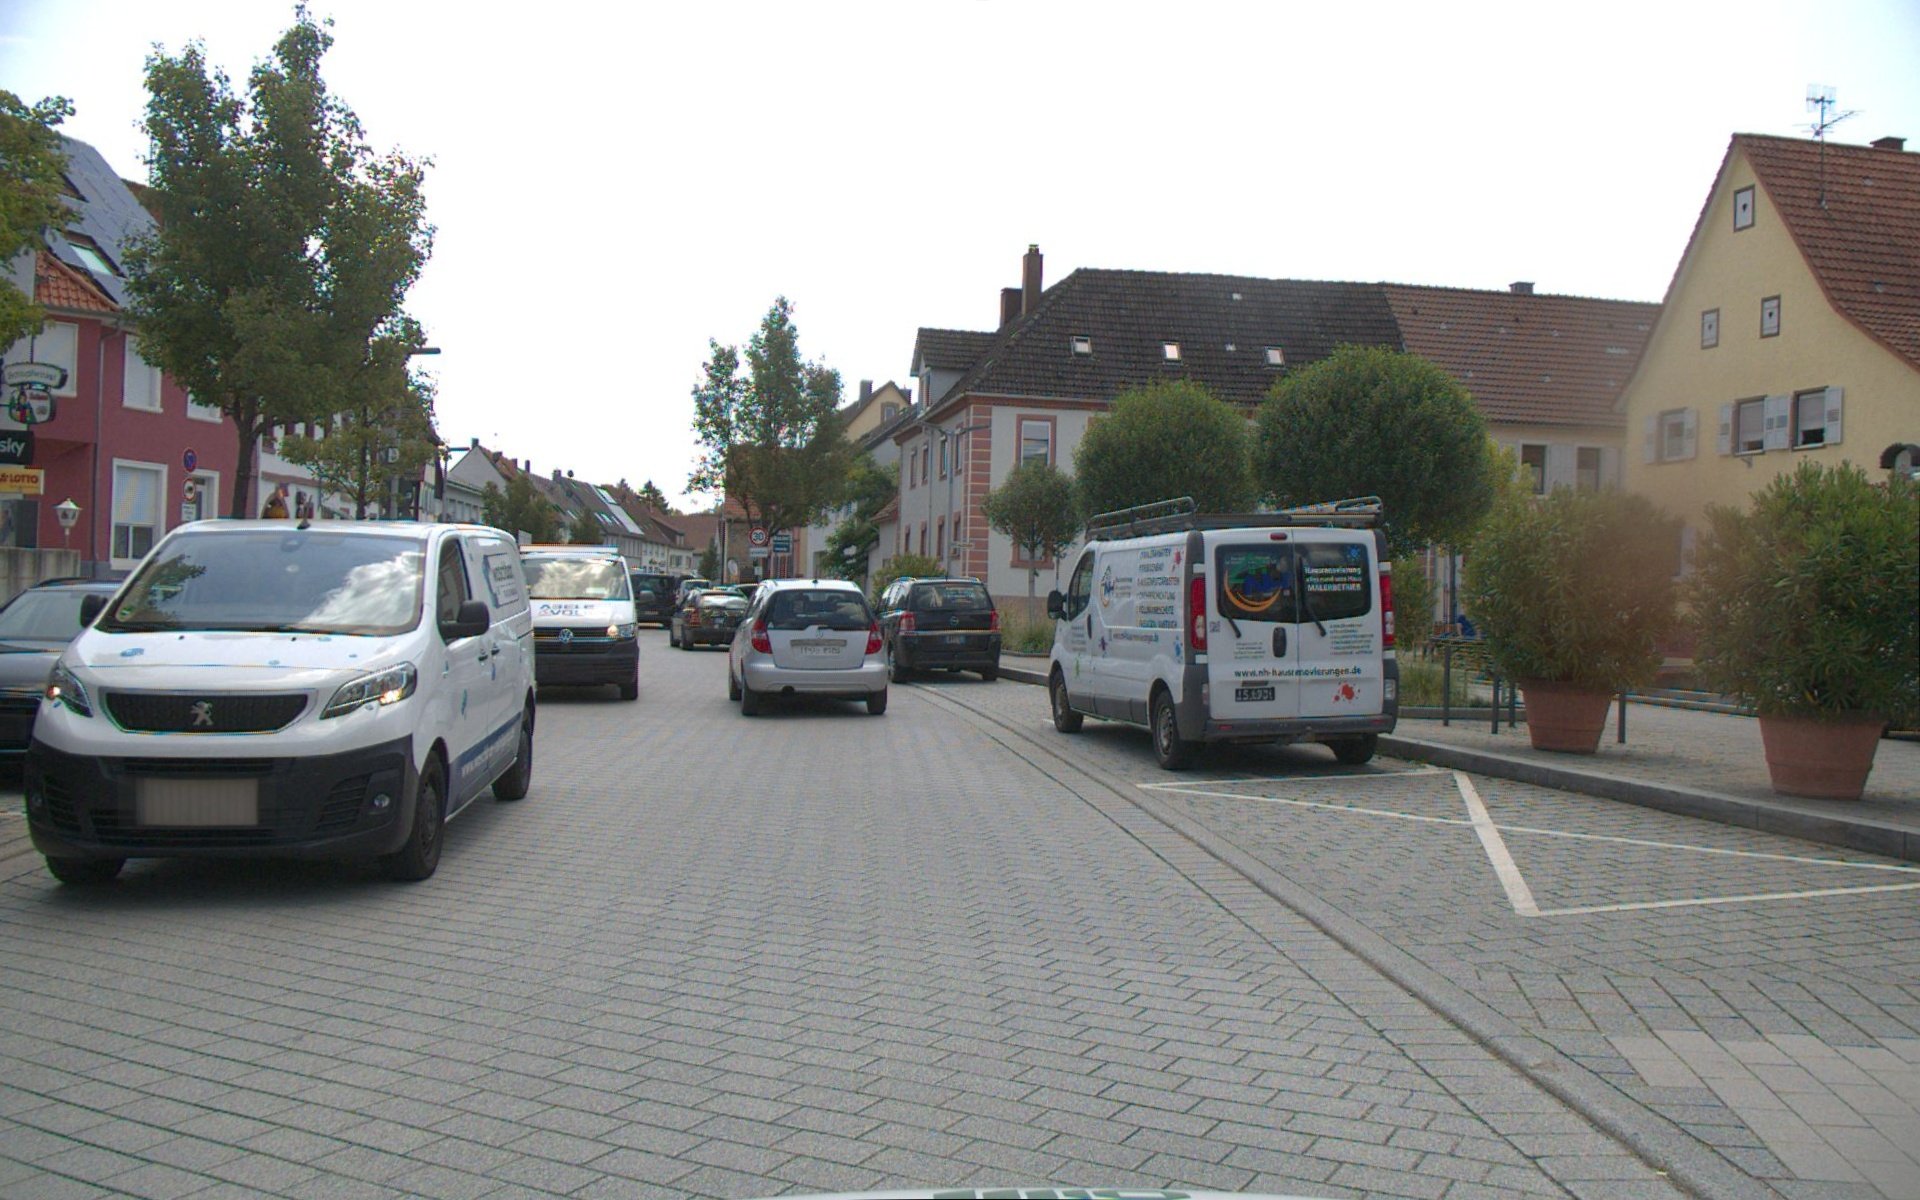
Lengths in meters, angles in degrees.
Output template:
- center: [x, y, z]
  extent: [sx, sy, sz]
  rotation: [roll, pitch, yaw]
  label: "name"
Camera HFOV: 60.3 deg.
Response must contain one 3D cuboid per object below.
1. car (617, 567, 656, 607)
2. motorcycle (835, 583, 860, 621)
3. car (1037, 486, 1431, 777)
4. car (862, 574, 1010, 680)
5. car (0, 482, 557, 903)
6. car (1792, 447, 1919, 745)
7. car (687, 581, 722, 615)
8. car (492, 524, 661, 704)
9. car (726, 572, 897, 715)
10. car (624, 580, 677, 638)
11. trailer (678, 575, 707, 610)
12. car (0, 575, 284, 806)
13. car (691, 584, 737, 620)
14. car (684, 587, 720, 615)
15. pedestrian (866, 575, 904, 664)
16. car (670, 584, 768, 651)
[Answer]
- center: [-19.047, -0.746, 97.280]
  extent: [2.197, 2.261, 3.988]
  rotation: [1, -1, -12]
  label: "car"
- center: [-3.511, 0.065, 51.640]
  extent: [0.516, 1.143, 1.062]
  rotation: [2, 0, -19]
  label: "motorcycle"
- center: [2.260, 0.209, 15.287]
  extent: [1.908, 2.215, 5.086]
  rotation: [-1, 1, -12]
  label: "car"
- center: [-0.490, 0.397, 27.273]
  extent: [1.737, 1.592, 4.407]
  rotation: [1, 0, -10]
  label: "car"
- center: [-3.796, 0.419, 10.064]
  extent: [1.955, 1.913, 4.859]
  rotation: [1, 0, -6]
  label: "car"
- center: [10.989, 0.002, 16.068]
  extent: [2.694, 3.014, 7.118]
  rotation: [2, 0, 5]
  label: "car"
- center: [-15.741, -0.127, 101.702]
  extent: [1.859, 2.016, 4.916]
  rotation: [-1, 1, -12]
  label: "car"
- center: [-5.474, 0.159, 23.127]
  extent: [1.858, 2.224, 5.005]
  rotation: [1, 0, -18]
  label: "car"
- center: [-1.971, 0.476, 20.948]
  extent: [1.737, 1.622, 3.989]
  rotation: [0, 1, -11]
  label: "car"
- center: [-11.392, 0.323, 60.936]
  extent: [1.737, 1.920, 4.435]
  rotation: [4, -1, -11]
  label: "car"
- center: [-18.776, -0.535, 115.897]
  extent: [1.813, 2.395, 3.578]
  rotation: [1, 0, -13]
  label: "trailer"
- center: [-6.836, 0.555, 12.798]
  extent: [1.781, 1.448, 4.531]
  rotation: [2, 0, -7]
  label: "car"
- center: [-12.026, 0.078, 80.726]
  extent: [1.958, 1.710, 4.310]
  rotation: [1, 0, -12]
  label: "car"
- center: [-14.534, 0.047, 93.112]
  extent: [1.743, 1.521, 4.149]
  rotation: [1, 0, -12]
  label: "car"
- center: [-1.421, 0.372, 31.272]
  extent: [0.627, 1.657, 0.619]
  rotation: [1, 0, -10]
  label: "pedestrian"
- center: [-5.734, 0.374, 38.997]
  extent: [1.912, 1.432, 3.987]
  rotation: [2, 0, -13]
  label: "car"
